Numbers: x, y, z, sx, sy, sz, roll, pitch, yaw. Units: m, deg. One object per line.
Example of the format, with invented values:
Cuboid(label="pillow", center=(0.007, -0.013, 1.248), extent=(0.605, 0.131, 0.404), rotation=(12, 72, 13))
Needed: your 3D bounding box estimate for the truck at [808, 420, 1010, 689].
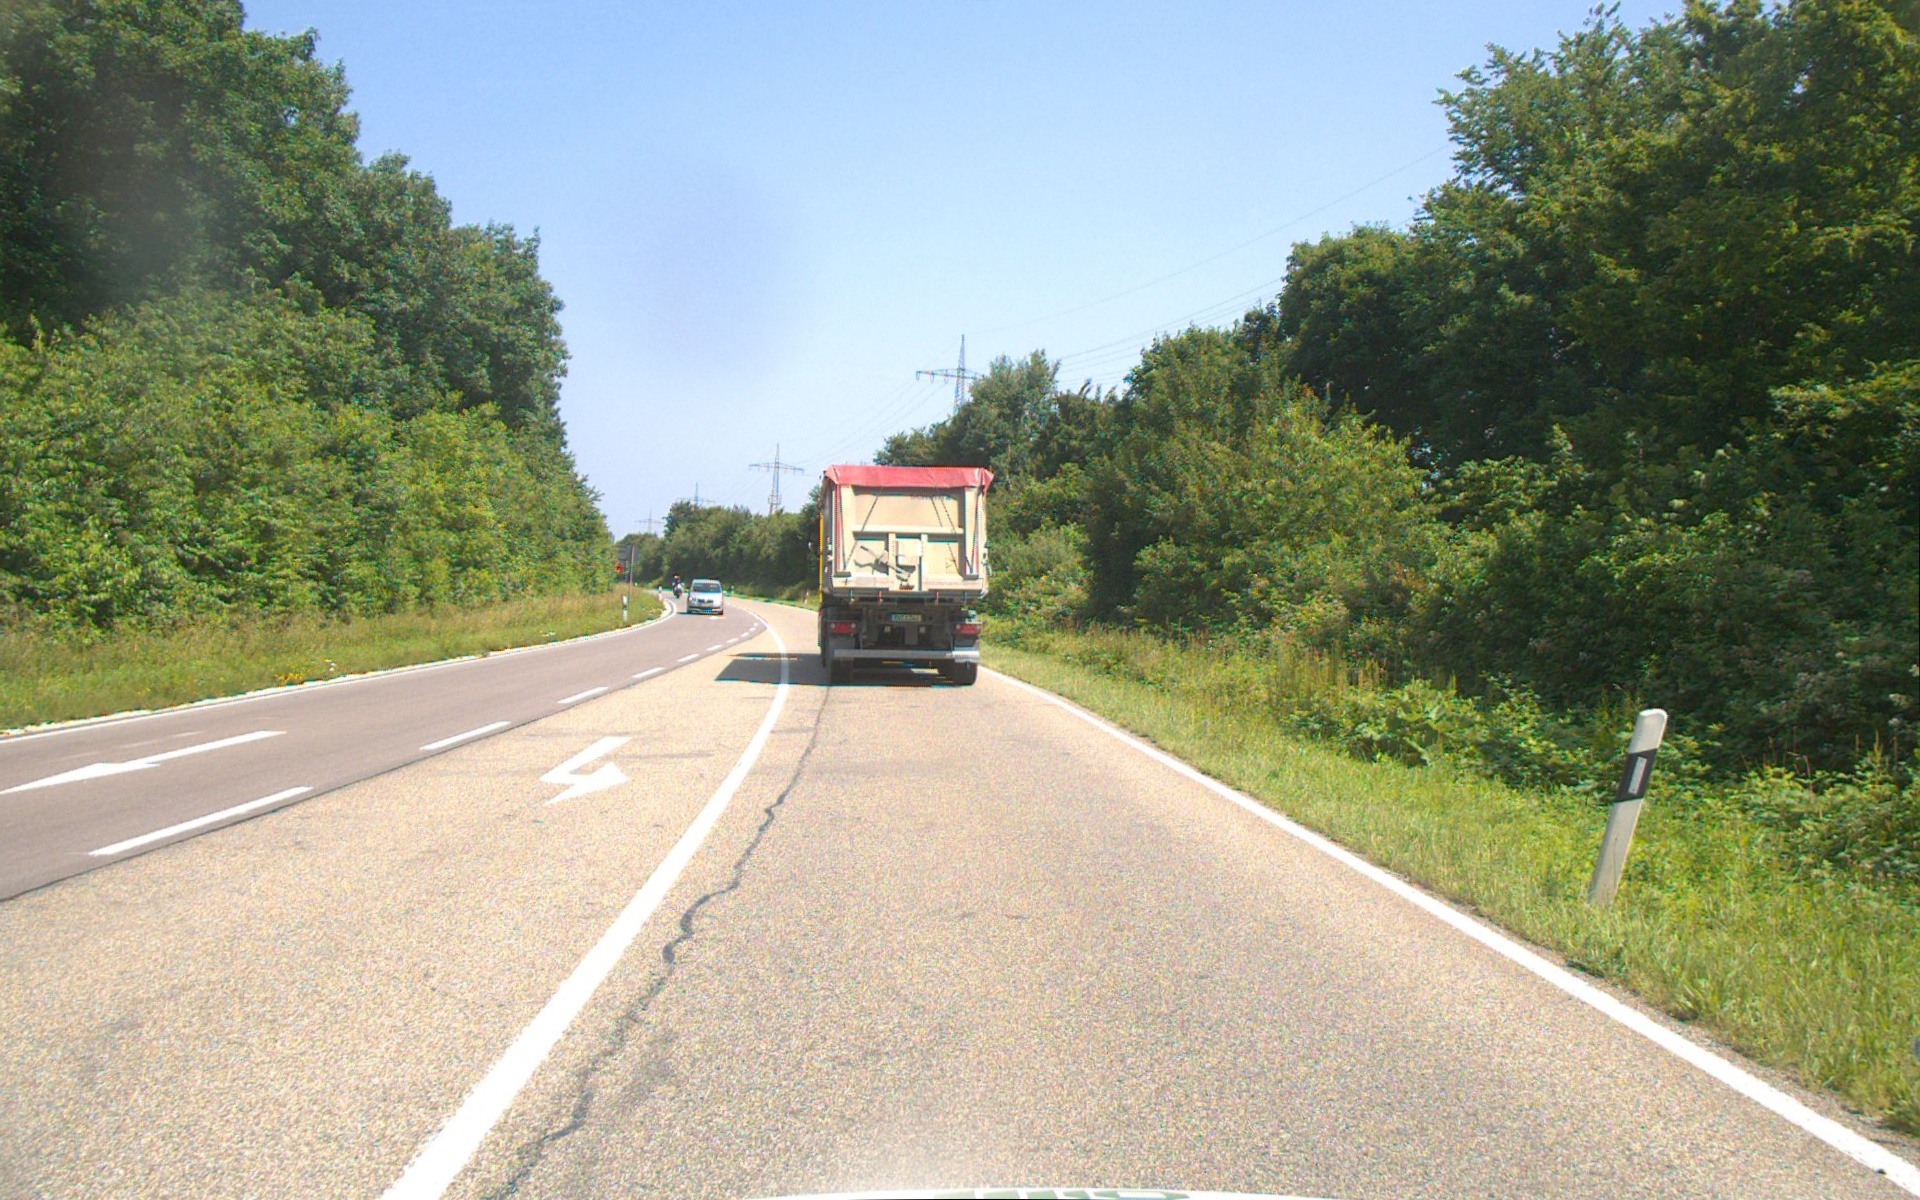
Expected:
Cuboid(label="truck", center=(-1.308, -0.761, 31.117), extent=(2.837, 4.031, 11.917), rotation=(1, 1, -6))

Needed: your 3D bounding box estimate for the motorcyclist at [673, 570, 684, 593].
Cuboid(label="motorcyclist", center=(-22.663, -1.501, 133.198), extent=(0.815, 1.782, 0.622), rotation=(1, 0, -10))

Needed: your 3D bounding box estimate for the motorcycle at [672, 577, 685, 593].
Cuboid(label="motorcycle", center=(-22.630, -1.238, 132.913), extent=(0.929, 1.272, 2.676), rotation=(1, 1, -9))

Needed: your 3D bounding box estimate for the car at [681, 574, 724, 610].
Cuboid(label="car", center=(-12.409, -0.401, 79.917), extent=(1.767, 1.665, 4.207), rotation=(1, 0, -6))
